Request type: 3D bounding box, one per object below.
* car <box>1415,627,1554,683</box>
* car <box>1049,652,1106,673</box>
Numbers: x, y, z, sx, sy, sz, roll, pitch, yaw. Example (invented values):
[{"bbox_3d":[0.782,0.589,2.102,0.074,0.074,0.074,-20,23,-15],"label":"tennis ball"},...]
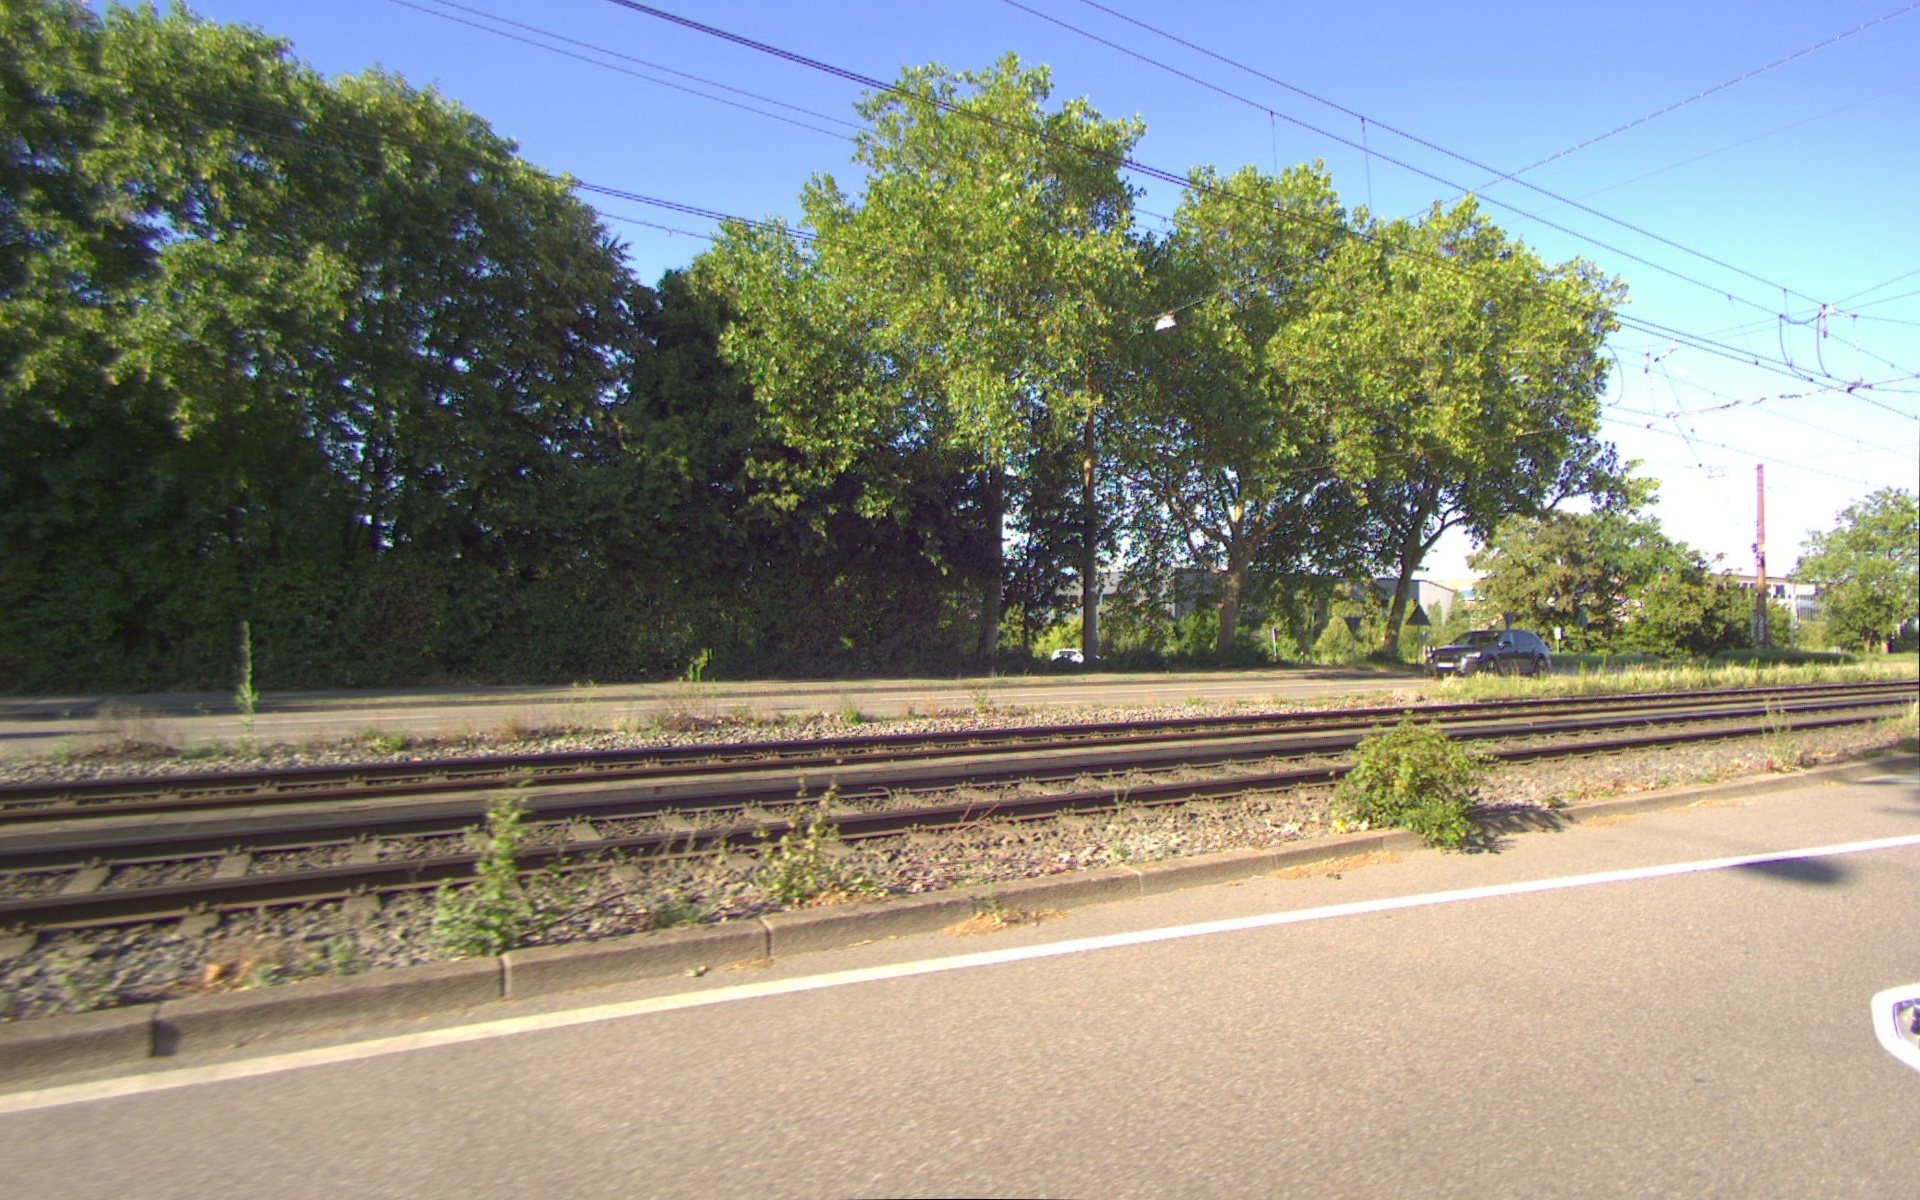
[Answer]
[{"bbox_3d":[17.325,1.810,33.111,4.888,1.716,1.888,2,-4,-33],"label":"car"},{"bbox_3d":[9.381,4.978,80.027,4.198,1.545,1.656,0,-4,31],"label":"car"}]
